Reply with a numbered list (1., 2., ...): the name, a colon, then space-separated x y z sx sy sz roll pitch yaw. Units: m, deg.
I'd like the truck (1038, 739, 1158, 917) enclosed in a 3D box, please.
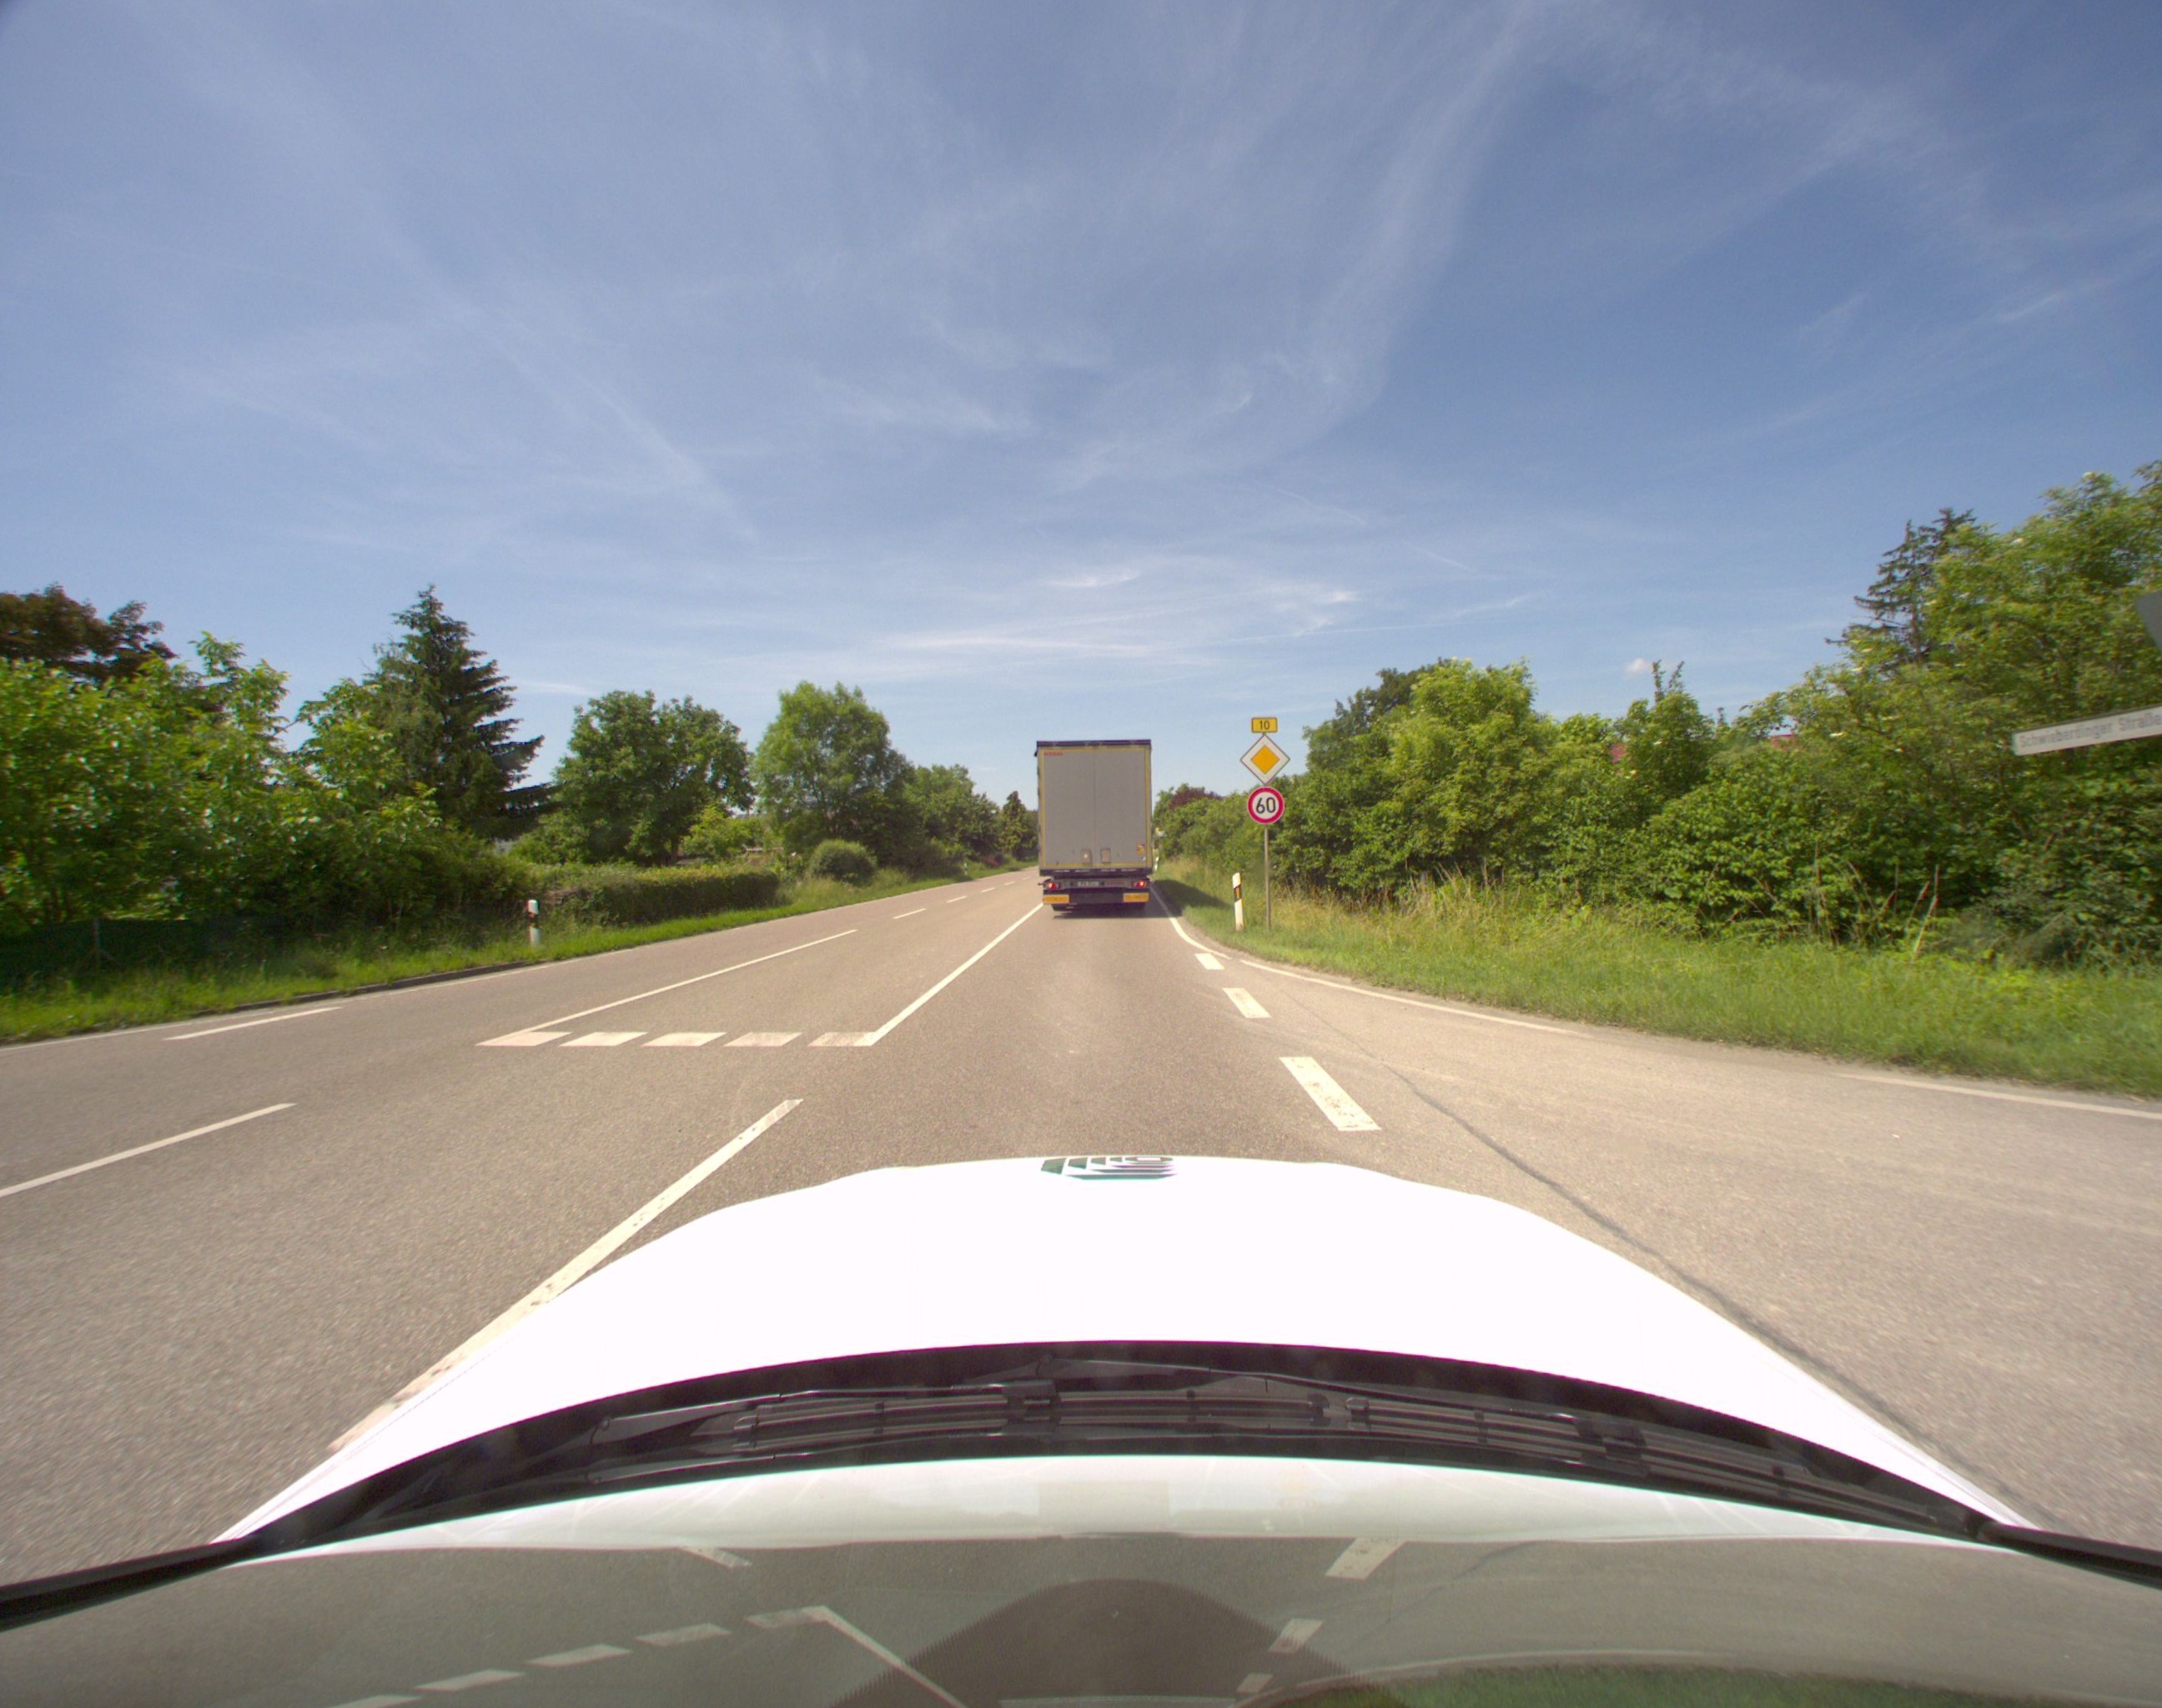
1. truck: 0.492 -0.596 22.419 2.638 3.917 8.828 -1 0 1
